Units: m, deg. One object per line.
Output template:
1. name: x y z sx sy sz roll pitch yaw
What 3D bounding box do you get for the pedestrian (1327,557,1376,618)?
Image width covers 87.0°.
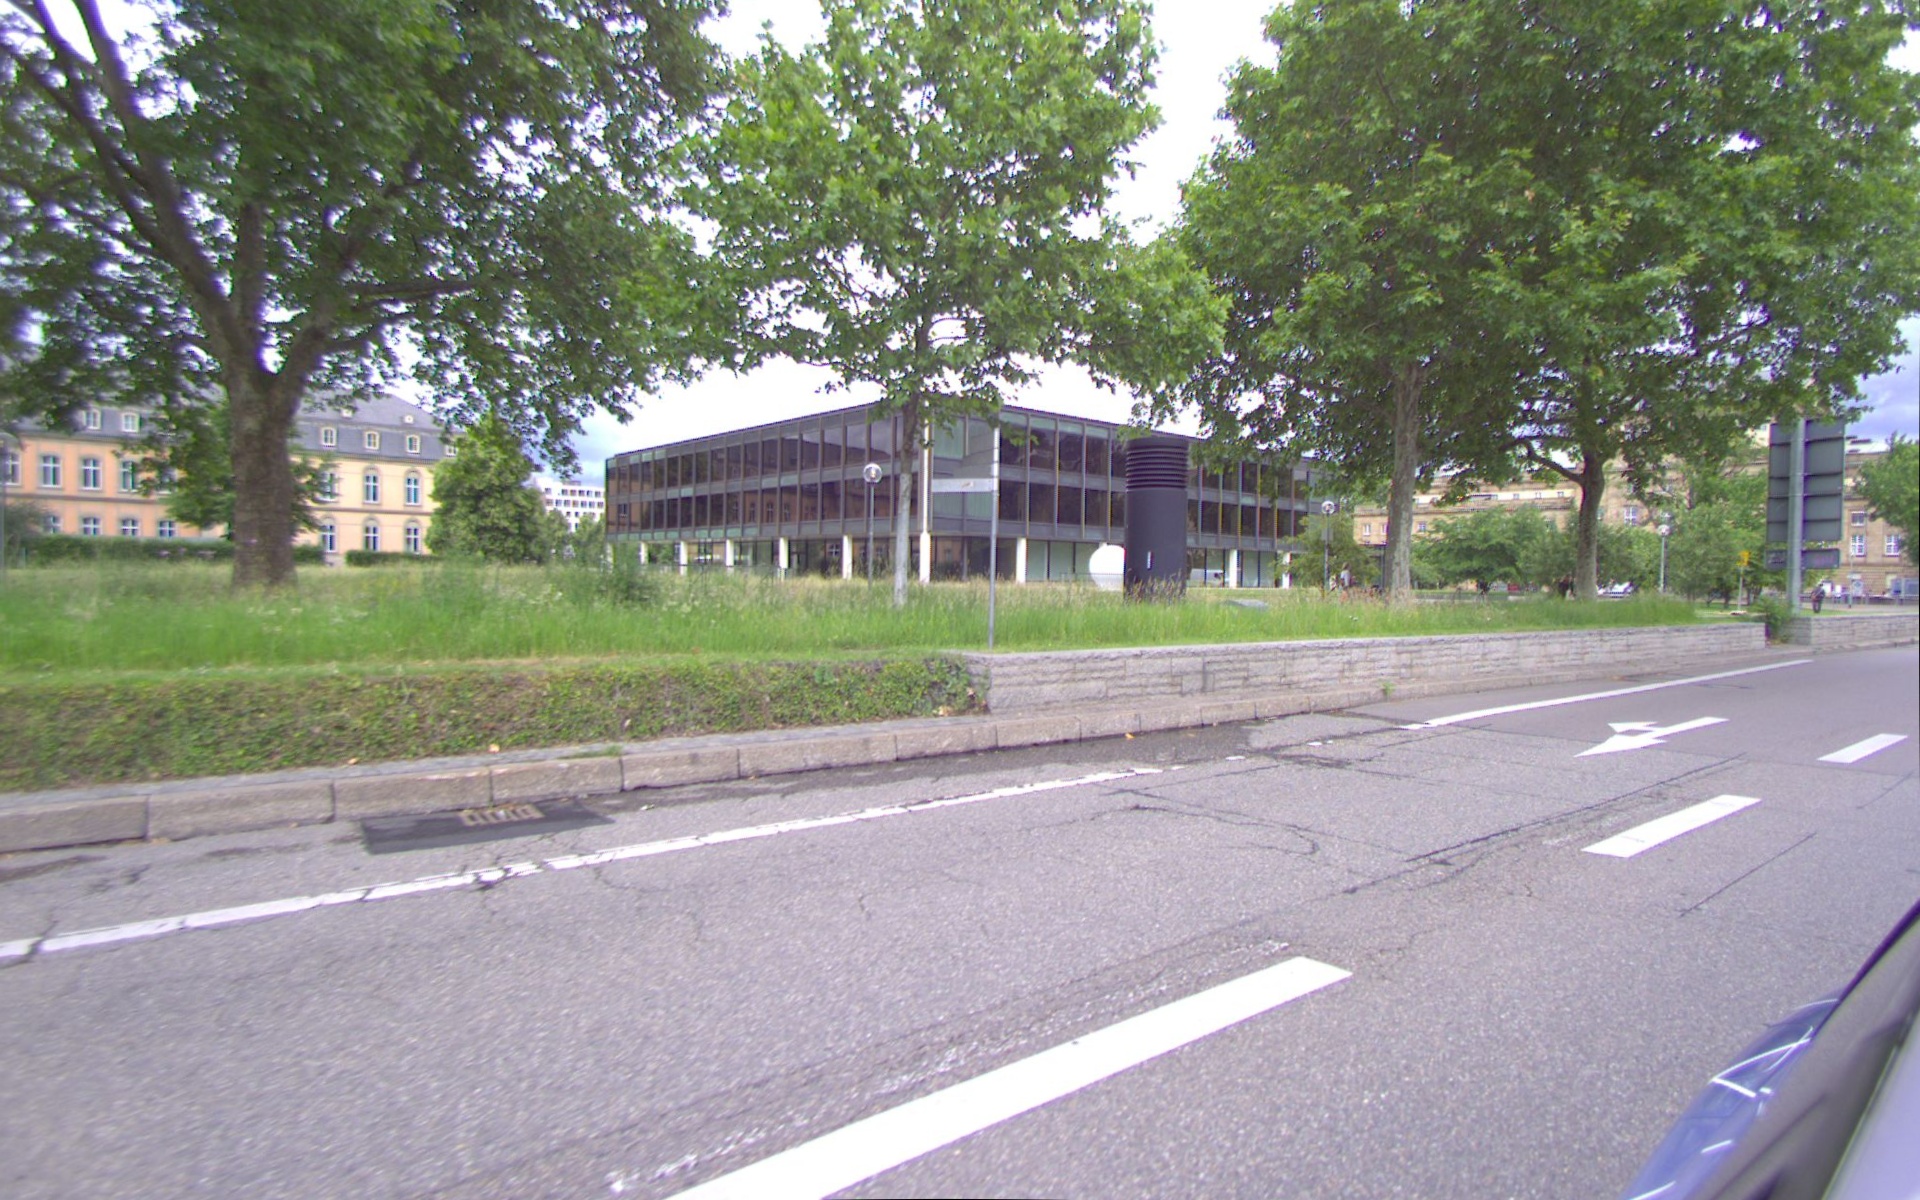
1. pedestrian: 12.086 -0.381 31.272 1.009 1.860 1.000 -1 -1 -5

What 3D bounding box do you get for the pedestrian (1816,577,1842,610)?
1. pedestrian: 43.868 -0.328 51.071 0.614 1.646 0.805 1 1 -32

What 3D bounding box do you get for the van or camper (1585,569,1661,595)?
1. van or camper: 63.445 -1.697 96.951 2.280 2.348 5.709 -2 2 -39

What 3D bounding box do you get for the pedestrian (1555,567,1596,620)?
1. pedestrian: 20.762 -0.228 34.146 0.951 1.755 0.898 0 -1 -39
